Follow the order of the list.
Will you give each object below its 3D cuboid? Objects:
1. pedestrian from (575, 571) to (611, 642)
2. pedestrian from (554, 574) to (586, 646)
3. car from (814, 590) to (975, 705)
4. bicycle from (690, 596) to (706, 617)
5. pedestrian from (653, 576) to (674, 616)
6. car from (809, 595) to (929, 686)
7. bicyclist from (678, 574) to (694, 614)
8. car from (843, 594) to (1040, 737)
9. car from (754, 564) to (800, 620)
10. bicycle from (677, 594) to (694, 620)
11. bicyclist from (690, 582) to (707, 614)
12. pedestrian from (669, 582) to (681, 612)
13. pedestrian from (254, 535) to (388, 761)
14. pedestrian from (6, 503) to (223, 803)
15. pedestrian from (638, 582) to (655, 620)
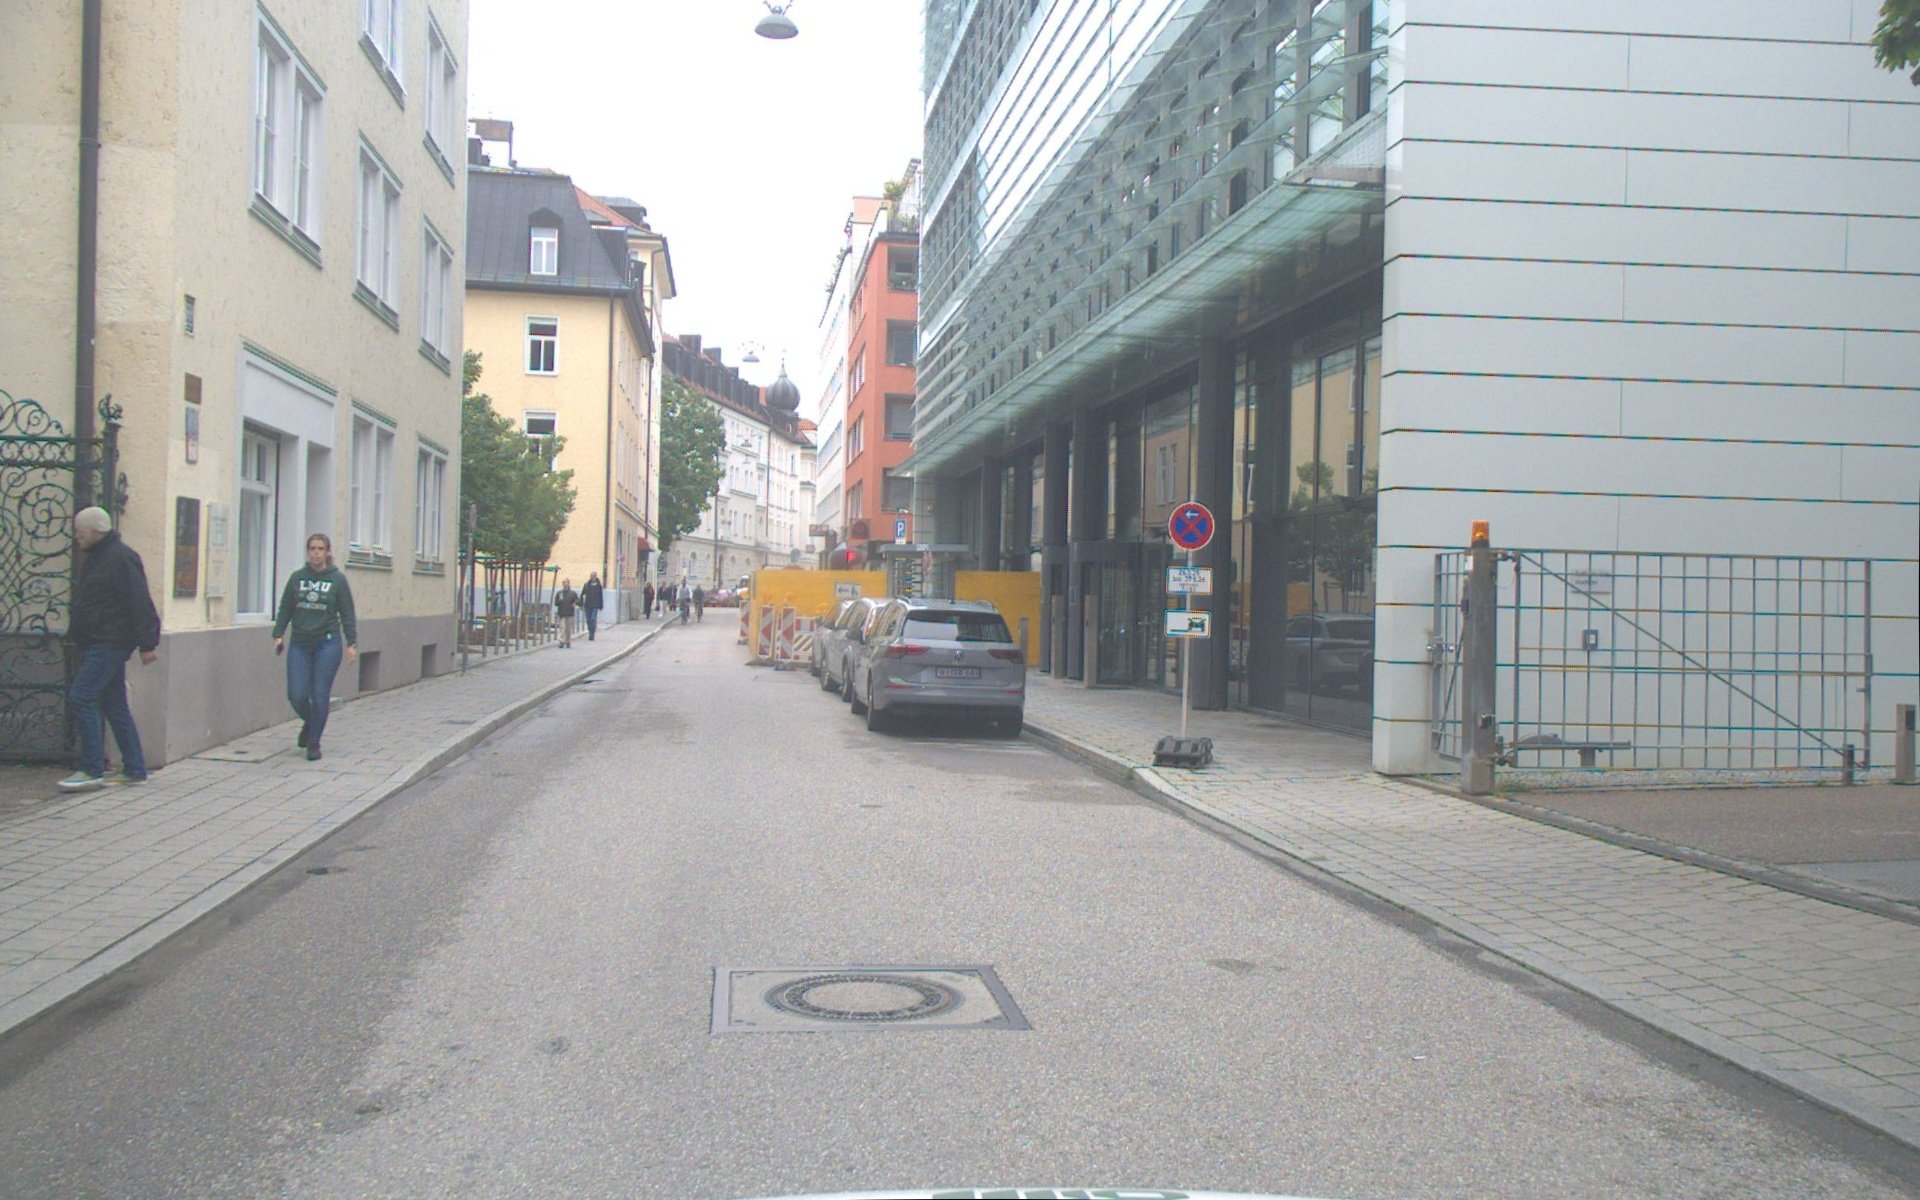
[{"bbox_3d":[-10.251,0.174,46.213,0.852,1.914,1.132,2,-1,-9],"label":"pedestrian"},{"bbox_3d":[-9.453,0.238,40.075,0.635,1.706,0.722,2,-1,-10],"label":"pedestrian"},{"bbox_3d":[-1.070,0.646,24.612,1.677,1.493,4.225,3,-1,-12],"label":"car"},{"bbox_3d":[-11.679,0.287,73.806,0.694,0.921,1.806,1,0,-9],"label":"bicycle"},{"bbox_3d":[-13.125,-0.196,73.179,0.824,1.730,0.801,2,-1,-9],"label":"pedestrian"},{"bbox_3d":[-1.713,0.682,29.724,1.676,1.438,4.500,3,-1,-9],"label":"car"},{"bbox_3d":[-11.508,-0.250,69.530,0.647,1.671,0.893,1,0,-9],"label":"bicyclist"},{"bbox_3d":[-0.335,0.683,19.379,1.676,1.457,4.320,1,0,-9],"label":"car"},{"bbox_3d":[-9.007,-0.392,81.240,1.957,2.581,4.965,2,0,-9],"label":"car"},{"bbox_3d":[-11.534,0.282,69.549,0.649,1.057,2.000,1,0,-9],"label":"bicycle"},{"bbox_3d":[-11.668,-0.094,73.786,0.694,1.395,0.811,1,0,-9],"label":"bicyclist"},{"bbox_3d":[-16.569,-0.161,96.071,0.623,1.704,0.516,2,0,-9],"label":"pedestrian"},{"bbox_3d":[-5.071,0.373,13.183,0.699,1.695,0.928,4,-1,-9],"label":"pedestrian"},{"bbox_3d":[-5.570,0.324,10.908,0.891,1.859,0.951,1,0,38],"label":"pedestrian"},{"bbox_3d":[-13.924,0.048,73.368,0.658,1.677,0.760,2,-1,-9],"label":"pedestrian"}]
